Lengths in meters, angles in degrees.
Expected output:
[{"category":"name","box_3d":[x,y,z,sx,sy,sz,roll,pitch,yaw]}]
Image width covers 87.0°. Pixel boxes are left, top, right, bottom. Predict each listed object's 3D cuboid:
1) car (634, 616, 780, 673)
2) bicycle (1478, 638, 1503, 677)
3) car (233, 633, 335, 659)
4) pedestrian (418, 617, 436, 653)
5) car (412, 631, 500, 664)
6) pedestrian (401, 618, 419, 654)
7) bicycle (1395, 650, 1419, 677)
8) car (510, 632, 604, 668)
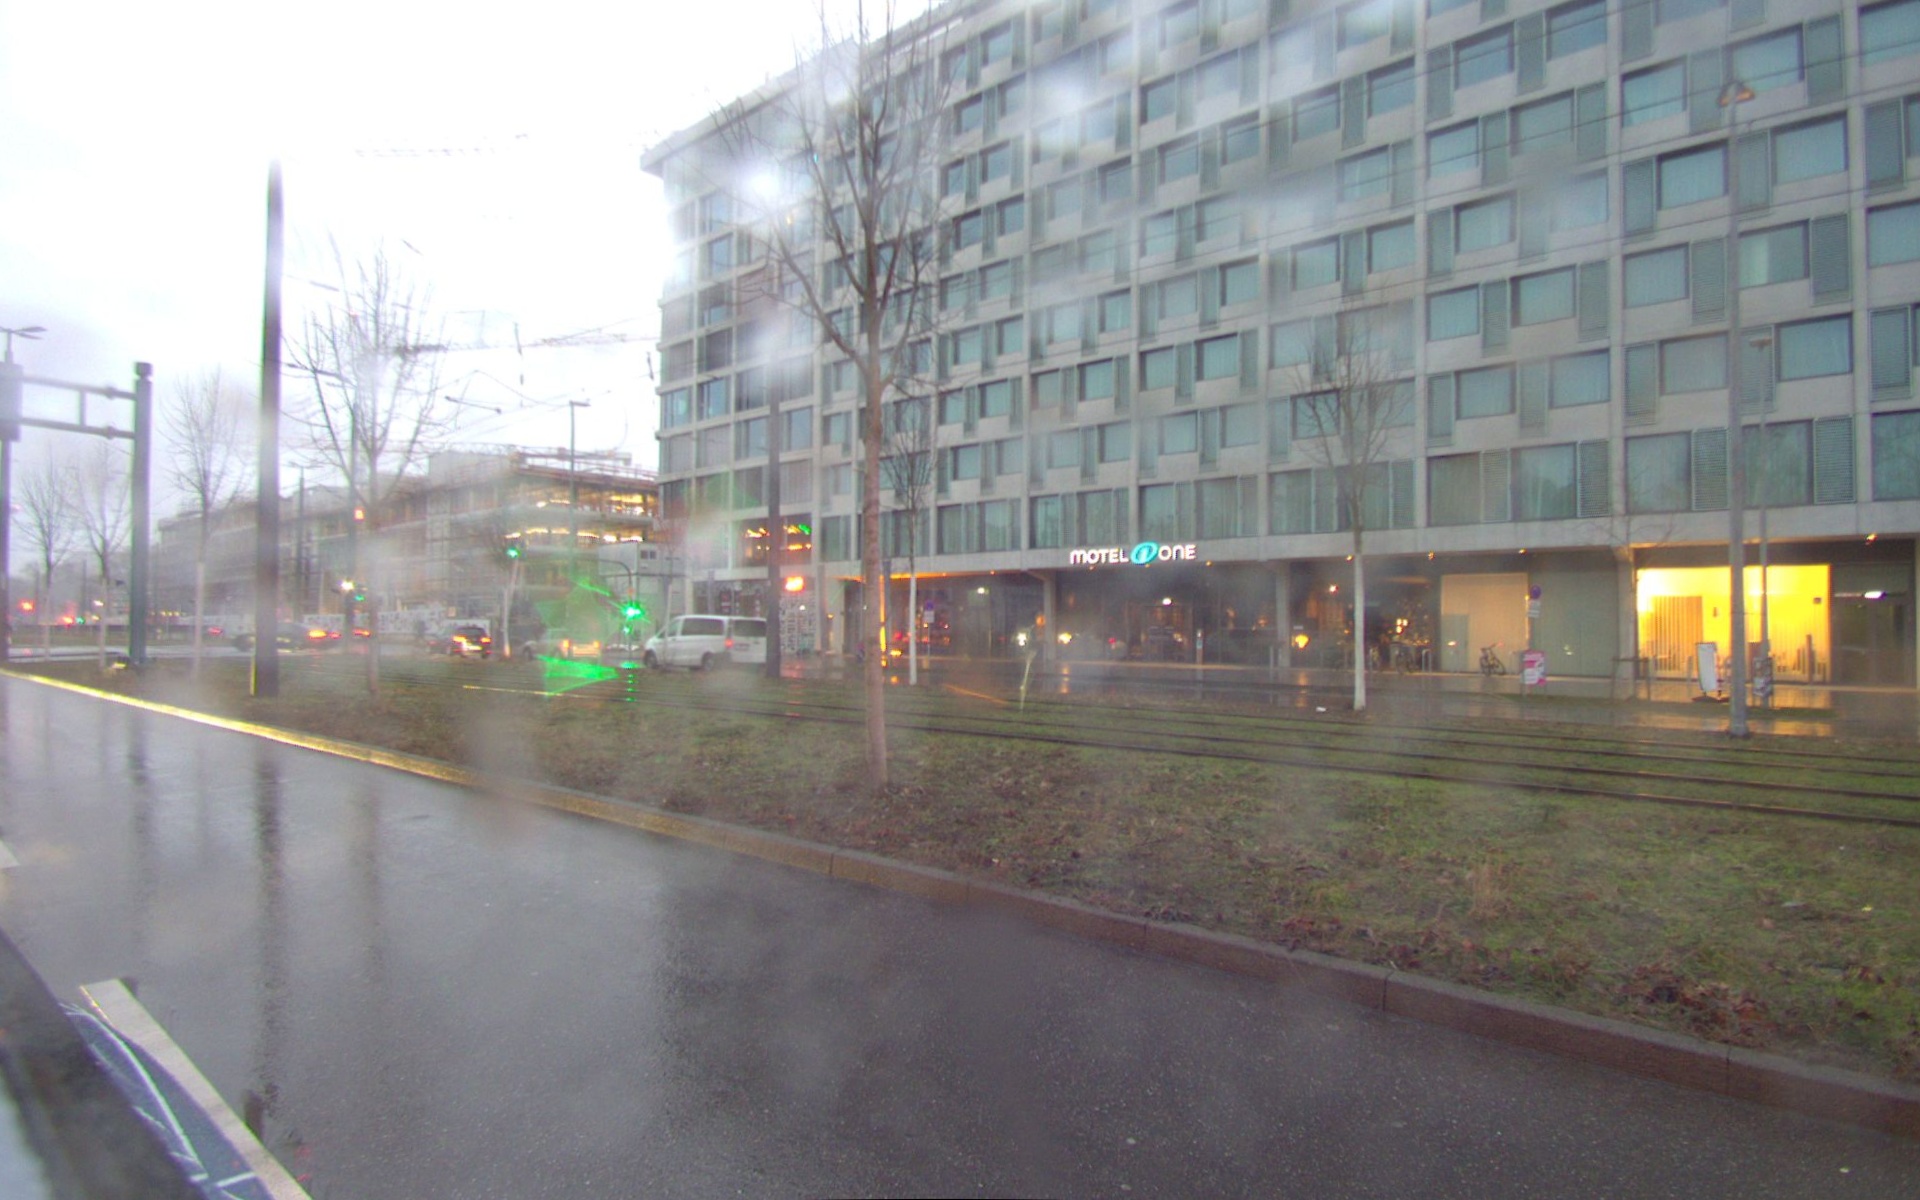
[{"category":"car","box_3d":[-8.168,1.405,32.418,5.041,1.682,2.060,-1,-3,41]},{"category":"bicycle","box_3d":[18.066,1.933,34.461,0.465,1.247,1.520,-1,0,39]},{"category":"car","box_3d":[-33.909,2.305,50.878,3.931,1.284,1.823,1,-2,-20]},{"category":"pedestrian","box_3d":[-27.827,1.825,52.828,0.698,1.818,0.772,-1,0,-36]},{"category":"car","box_3d":[-22.968,2.122,46.078,4.254,1.411,2.084,-1,-3,40]},{"category":"pedestrian","box_3d":[-28.604,1.875,52.639,0.698,1.818,0.772,-1,0,-35]},{"category":"bicycle","box_3d":[15.810,2.221,35.785,0.465,0.860,1.332,-1,0,39]},{"category":"car","box_3d":[-15.715,1.915,39.383,3.998,1.317,1.793,-1,-3,41]}]
